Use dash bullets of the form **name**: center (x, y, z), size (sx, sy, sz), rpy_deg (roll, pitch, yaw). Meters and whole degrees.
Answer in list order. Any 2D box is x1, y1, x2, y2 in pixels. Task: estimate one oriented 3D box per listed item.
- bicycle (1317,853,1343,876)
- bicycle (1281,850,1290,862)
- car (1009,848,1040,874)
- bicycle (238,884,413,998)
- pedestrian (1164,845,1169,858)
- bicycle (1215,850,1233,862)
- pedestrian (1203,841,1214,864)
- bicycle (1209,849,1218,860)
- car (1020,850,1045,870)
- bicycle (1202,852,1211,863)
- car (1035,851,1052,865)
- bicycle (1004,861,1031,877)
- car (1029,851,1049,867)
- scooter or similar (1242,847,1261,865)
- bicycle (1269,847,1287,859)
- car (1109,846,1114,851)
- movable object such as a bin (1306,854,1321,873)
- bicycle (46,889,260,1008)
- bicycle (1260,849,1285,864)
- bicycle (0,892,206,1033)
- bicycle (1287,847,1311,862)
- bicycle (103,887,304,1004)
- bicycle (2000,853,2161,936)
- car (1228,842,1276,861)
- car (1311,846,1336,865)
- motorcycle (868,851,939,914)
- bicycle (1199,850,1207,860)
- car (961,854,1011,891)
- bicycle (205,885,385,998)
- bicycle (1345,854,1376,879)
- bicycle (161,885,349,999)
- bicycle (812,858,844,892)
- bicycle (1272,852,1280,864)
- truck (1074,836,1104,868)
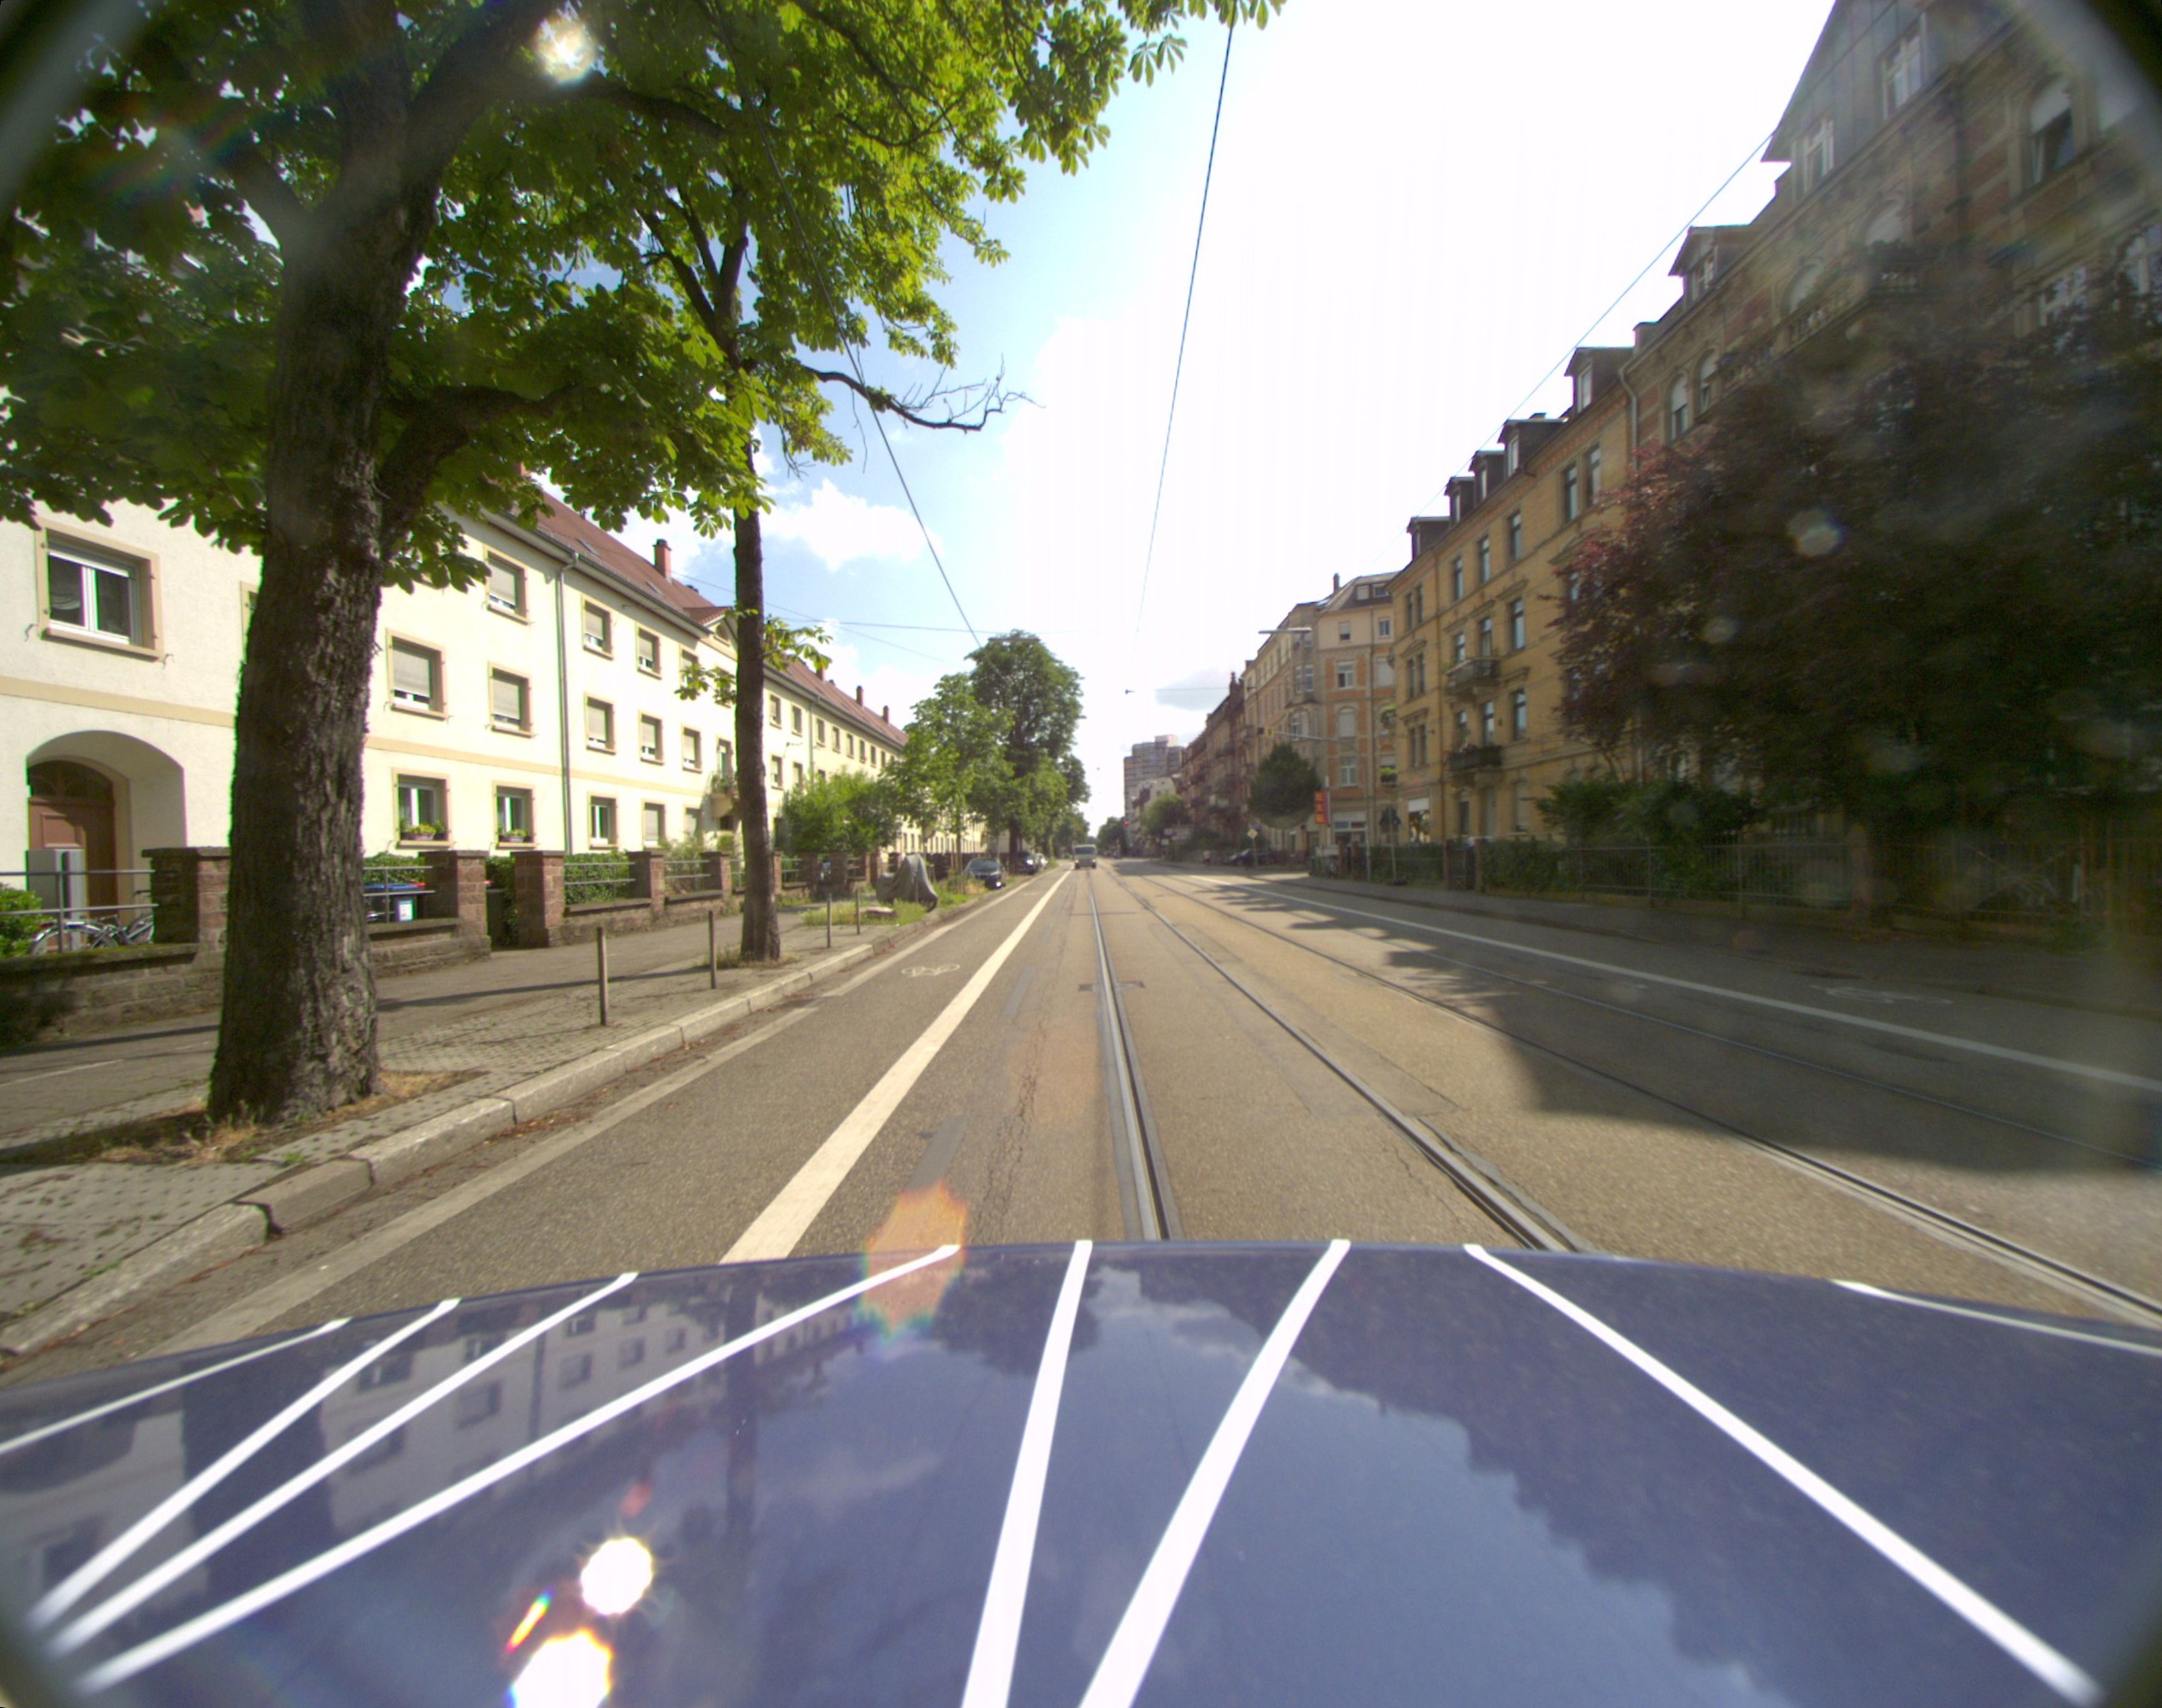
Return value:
- **bicycle**: center (11.187, 0.455, 34.158), size (0.531, 0.941, 1.967), rpy_deg (-1, 1, 0)
- **bicycle**: center (15.087, 0.159, 56.100), size (0.524, 0.833, 1.700), rpy_deg (-2, 0, 13)
- **car**: center (-4.040, 0.451, 55.148), size (1.832, 1.772, 4.733), rpy_deg (-1, 0, 0)
- **bicycle**: center (-9.311, 1.022, 9.468), size (0.413, 1.204, 1.704), rpy_deg (-1, 1, 1)
- **pedestrian**: center (11.269, -0.372, 100.330), size (0.489, 1.693, 1.151), rpy_deg (-2, 1, -2)
- **bicycle**: center (12.128, 0.135, 64.421), size (1.456, 0.971, 0.404), rpy_deg (-1, 1, 0)
- **pedestrian**: center (9.975, -0.112, 59.536), size (0.534, 1.750, 1.105), rpy_deg (-4, 1, 0)
- **bicycle**: center (11.501, 0.034, 66.164), size (0.422, 0.971, 1.949), rpy_deg (-2, 1, 0)
- **car**: center (-4.125, 0.476, 65.332), size (1.867, 1.643, 4.637), rpy_deg (-2, 1, 0)
- **bicycle**: center (11.409, 0.293, 69.016), size (0.422, 0.971, 1.949), rpy_deg (-2, 1, 0)
- **car**: center (-4.185, 0.433, 84.738), size (1.665, 1.512, 4.287), rpy_deg (-2, 0, -1)
- **bicycle**: center (-4.179, 0.978, 50.388), size (1.712, 1.001, 0.638), rpy_deg (-1, 1, 1)
- **car**: center (-4.229, 0.486, 76.452), size (1.746, 1.571, 4.248), rpy_deg (-2, 0, -1)
- **scooter or similar**: center (12.581, 0.127, 55.972), size (1.367, 1.228, 0.403), rpy_deg (-3, 1, -28)
- **bicycle**: center (16.765, -0.091, 64.685), size (1.456, 0.971, 0.404), rpy_deg (-1, 1, 0)
- **car**: center (10.603, -1.967, 263.895), size (1.841, 1.482, 3.891), rpy_deg (-2, 0, 0)
- **movable object such as a bin**: center (11.760, 0.480, 38.464), size (0.526, 0.900, 0.636), rpy_deg (-1, 1, -1)
- **bicycle**: center (-11.047, 1.070, 9.141), size (0.413, 1.204, 1.704), rpy_deg (-1, 1, 1)
- **bicycle**: center (14.741, 0.199, 58.596), size (1.759, 1.057, 0.524), rpy_deg (-2, 0, -5)
- **bicycle**: center (-10.156, 1.048, 7.751), size (0.413, 1.204, 1.704), rpy_deg (-1, 1, 1)
- **bicycle**: center (16.604, 0.029, 57.978), size (1.695, 1.057, 0.525), rpy_deg (-2, 0, 11)
- **bicycle**: center (-10.622, 1.053, 9.298), size (0.413, 1.204, 1.704), rpy_deg (-1, 1, 1)
- **bicycle**: center (13.455, 0.518, 10.155), size (2.211, 1.013, 0.467), rpy_deg (-2, 1, -10)
- **car**: center (14.124, -0.212, 62.731), size (3.611, 1.395, 1.787), rpy_deg (-2, 0, 4)
- **car**: center (17.671, 0.097, 55.295), size (1.641, 1.352, 3.932), rpy_deg (-1, 0, 19)
- **motorcycle**: center (-4.768, 0.745, 20.324), size (0.680, 1.588, 2.380), rpy_deg (-3, 1, -44)
- **bicycle**: center (11.645, 0.128, 72.359), size (0.422, 0.927, 1.949), rpy_deg (-2, 1, 0)
- **car**: center (-4.365, 0.814, 35.385), size (1.710, 1.470, 4.196), rpy_deg (-4, 1, 0)
- **bicycle**: center (-9.732, 1.030, 9.507), size (0.413, 1.204, 1.704), rpy_deg (-1, 1, 1)
- **bicycle**: center (11.206, 0.483, 30.509), size (0.531, 0.941, 1.967), rpy_deg (-1, 1, 0)
- **bicycle**: center (-10.186, 1.036, 9.466), size (0.413, 1.204, 1.704), rpy_deg (-1, 1, 1)
- **bicycle**: center (-9.562, 0.785, 28.761), size (0.601, 1.204, 1.704), rpy_deg (-1, 1, 1)
- **bicycle**: center (14.568, 0.307, 56.649), size (0.524, 0.833, 1.700), rpy_deg (-2, 0, 13)
- **truck**: center (0.709, -0.187, 71.469), size (2.532, 2.722, 6.514), rpy_deg (-2, 0, -1)
